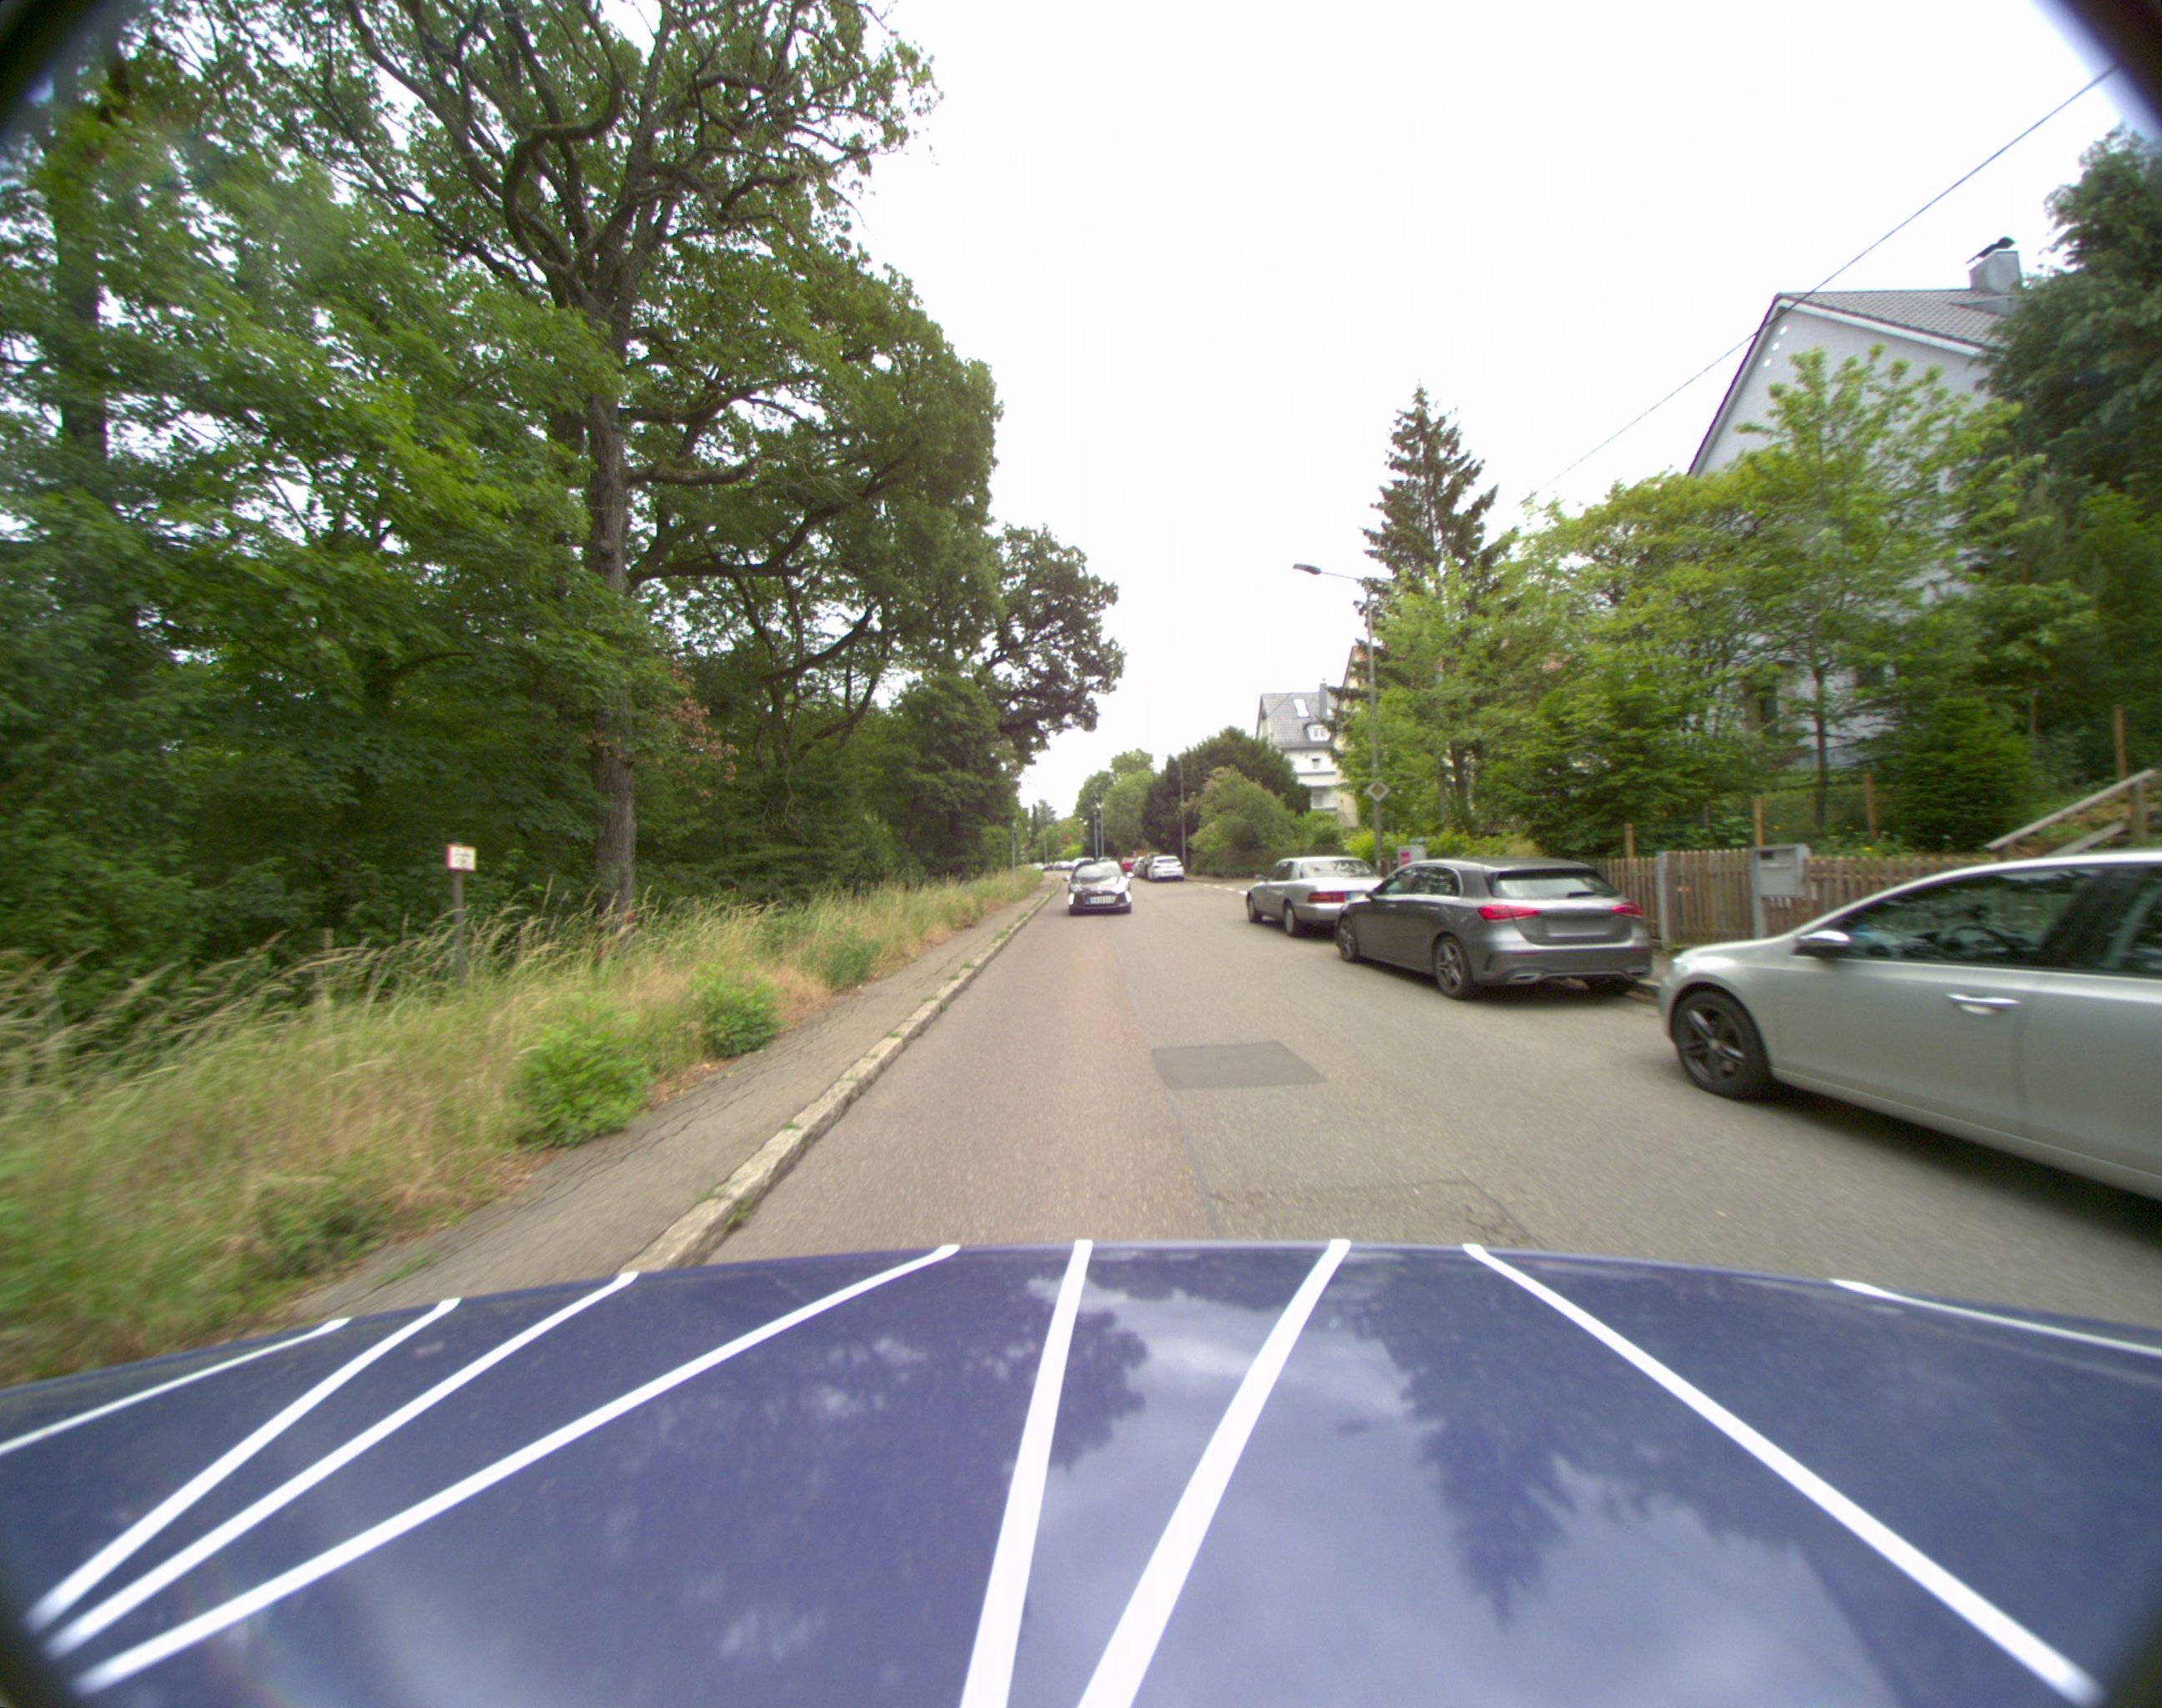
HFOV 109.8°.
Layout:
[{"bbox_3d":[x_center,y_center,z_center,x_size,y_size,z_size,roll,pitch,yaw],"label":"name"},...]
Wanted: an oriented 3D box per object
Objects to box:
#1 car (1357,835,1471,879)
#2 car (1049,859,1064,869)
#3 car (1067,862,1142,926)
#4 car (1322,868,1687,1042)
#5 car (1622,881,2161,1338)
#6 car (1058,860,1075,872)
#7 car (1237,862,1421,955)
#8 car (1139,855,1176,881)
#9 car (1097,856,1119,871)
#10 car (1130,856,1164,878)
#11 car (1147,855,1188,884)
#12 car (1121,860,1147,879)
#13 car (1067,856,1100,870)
[{"bbox_3d":[14.060,0.129,32.283,3.996,1.474,1.723,-5,-1,5],"label":"car"},{"bbox_3d":[-4.423,1.741,135.349,2.000,1.678,4.707,-3,0,-10],"label":"car"},{"bbox_3d":[0.553,1.016,20.844,1.788,1.491,4.014,-3,0,-1],"label":"car"},{"bbox_3d":[4.431,0.927,8.840,1.739,1.431,4.262,-1,0,-2],"label":"car"},{"bbox_3d":[4.554,0.904,3.065,1.839,1.431,4.117,-1,0,1],"label":"car"},{"bbox_3d":[-2.289,1.919,121.623,2.000,1.678,4.707,-3,0,-10],"label":"car"},{"bbox_3d":[4.513,0.910,14.712,1.853,1.431,4.909,-1,0,-1],"label":"car"},{"bbox_3d":[4.773,0.834,47.791,1.788,1.491,4.014,-3,0,-1],"label":"car"},{"bbox_3d":[2.897,1.029,83.117,1.765,1.441,4.042,-3,0,-6],"label":"car"},{"bbox_3d":[4.594,0.907,53.348,1.788,1.431,4.323,-3,0,-2],"label":"car"},{"bbox_3d":[4.843,0.850,43.060,1.788,1.491,4.014,-3,0,-1],"label":"car"},{"bbox_3d":[4.433,1.293,63.659,1.741,1.431,3.787,-3,0,-2],"label":"car"},{"bbox_3d":[0.399,1.146,102.096,1.995,1.678,4.719,-3,0,35],"label":"car"}]
